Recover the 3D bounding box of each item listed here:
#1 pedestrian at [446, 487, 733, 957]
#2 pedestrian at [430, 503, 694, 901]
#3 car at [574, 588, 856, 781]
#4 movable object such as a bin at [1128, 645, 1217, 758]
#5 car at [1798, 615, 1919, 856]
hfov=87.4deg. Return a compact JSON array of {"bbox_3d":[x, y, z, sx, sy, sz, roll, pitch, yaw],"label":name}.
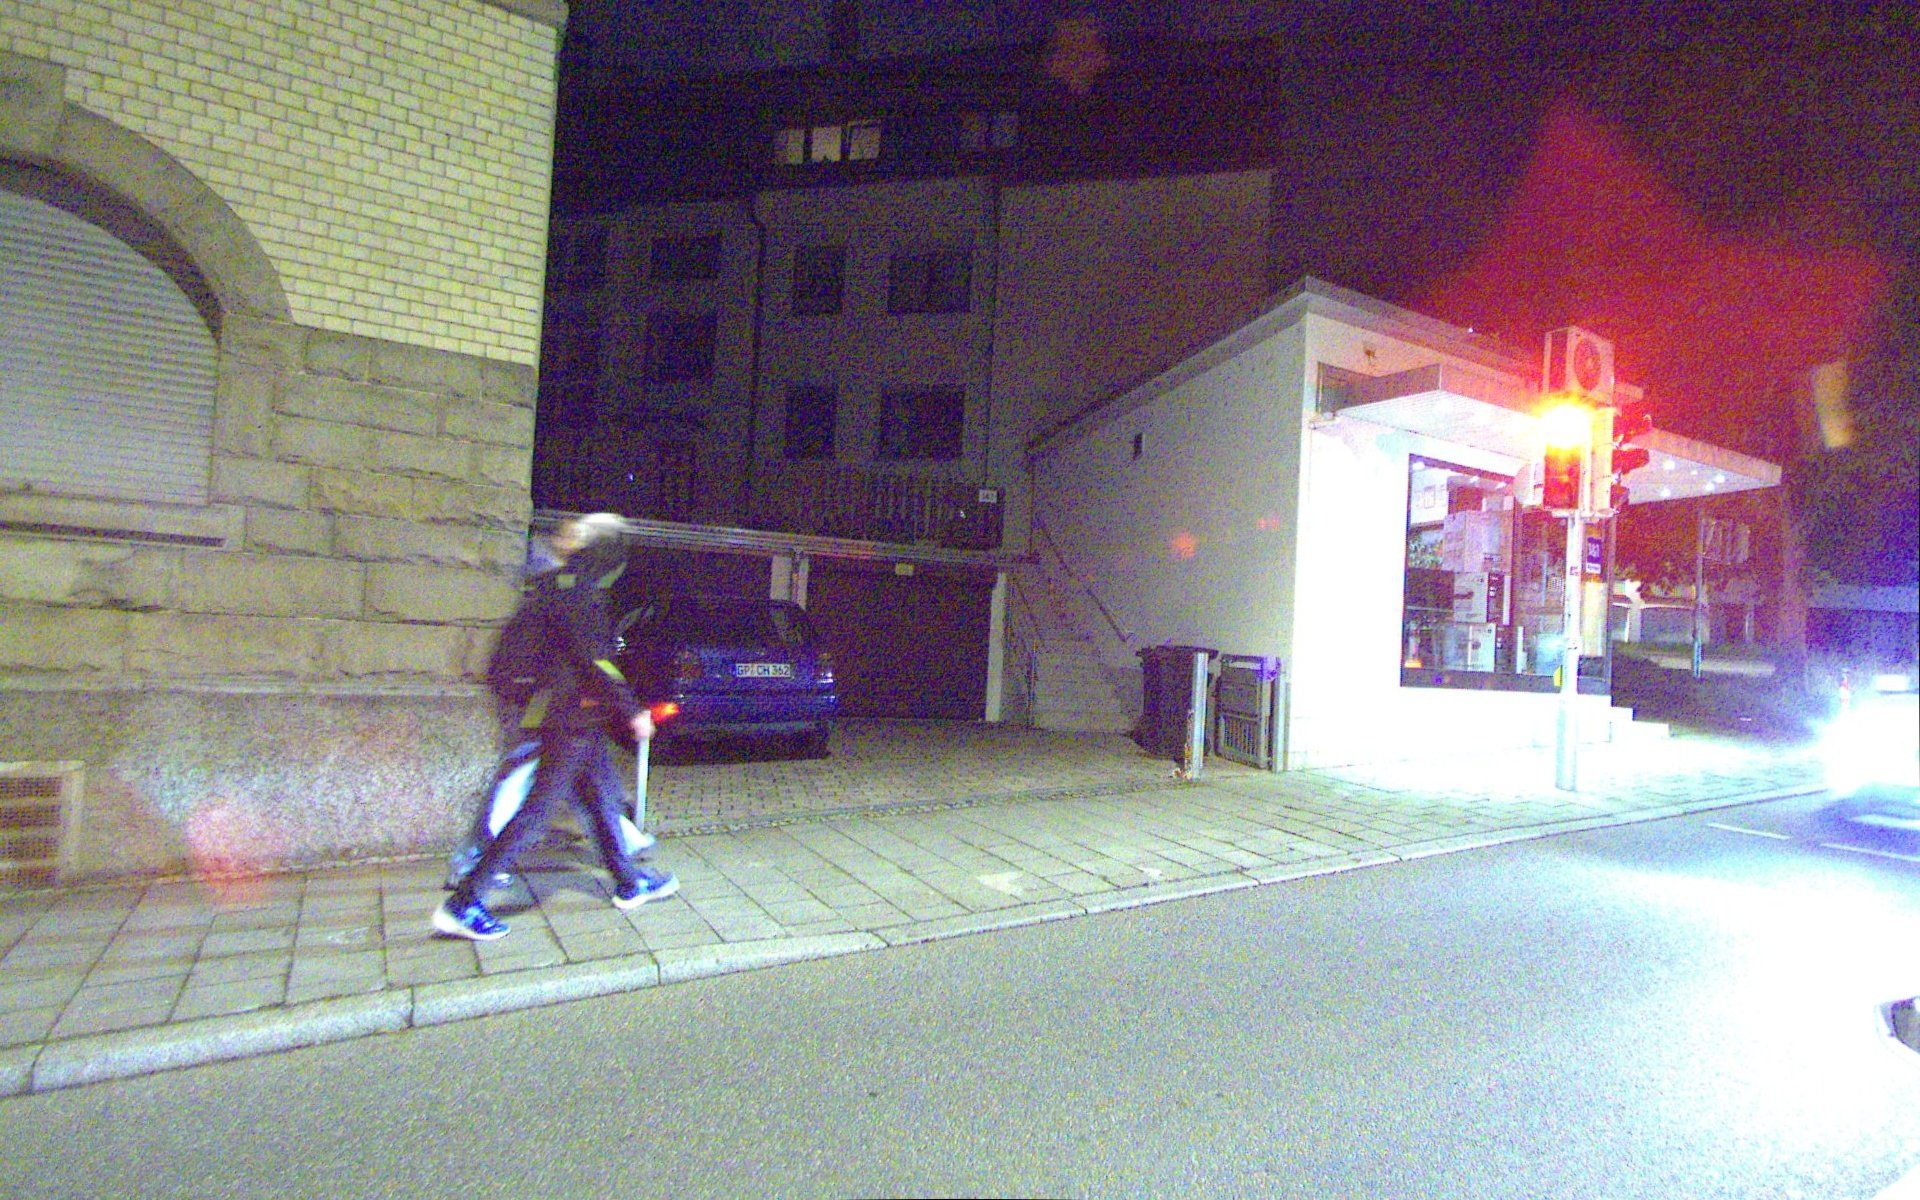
[{"bbox_3d":[-1.602,0.471,4.334,1.017,1.768,0.672,2,0,-31],"label":"pedestrian"},{"bbox_3d":[-2.009,0.466,5.058,1.091,1.768,0.738,2,0,-31],"label":"pedestrian"},{"bbox_3d":[-2.455,0.654,9.497,1.655,1.470,3.341,2,-1,-31],"label":"car"},{"bbox_3d":[2.114,1.001,10.026,0.643,1.063,0.639,2,0,-12],"label":"movable object such as a bin"},{"bbox_3d":[8.108,0.941,7.373,3.983,1.554,1.847,1,0,-32],"label":"car"}]
